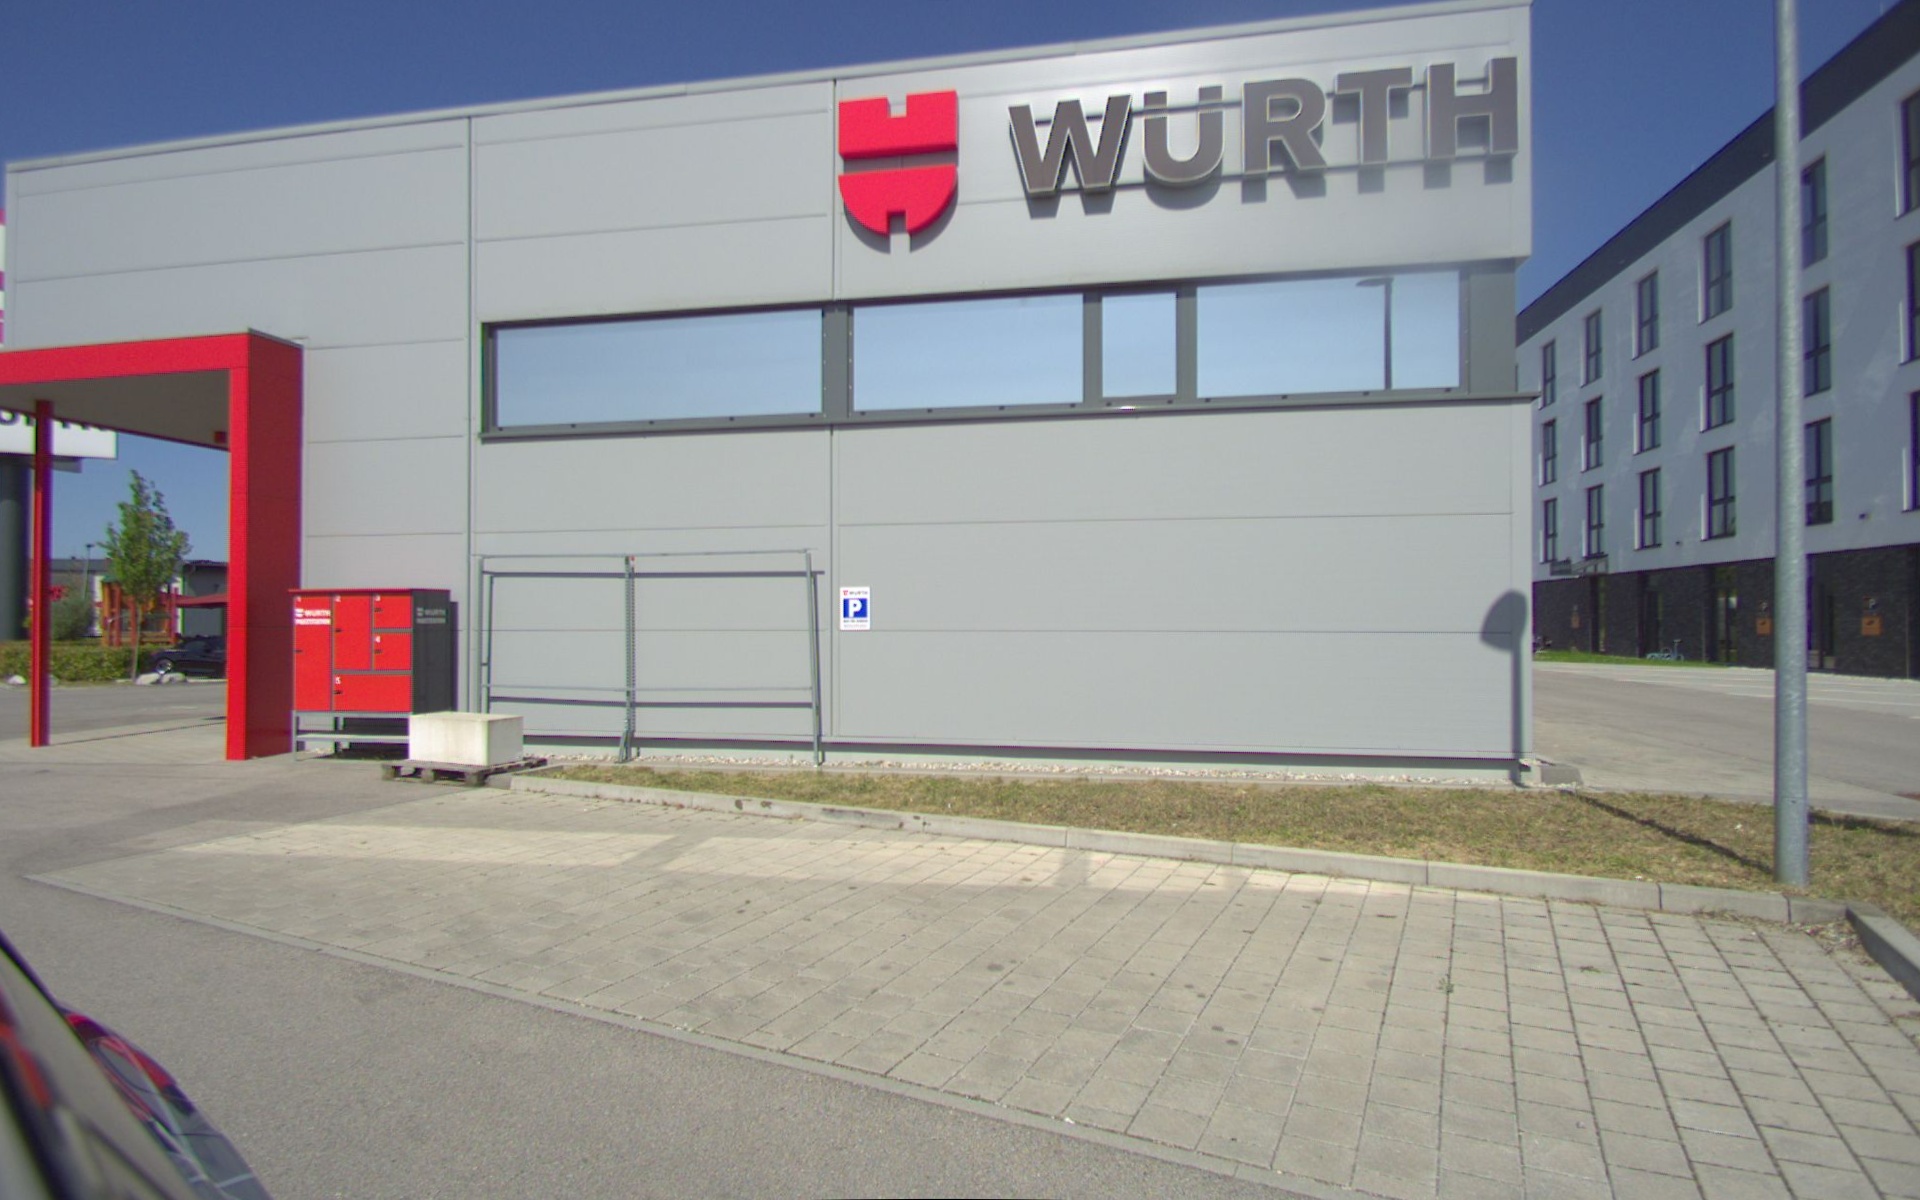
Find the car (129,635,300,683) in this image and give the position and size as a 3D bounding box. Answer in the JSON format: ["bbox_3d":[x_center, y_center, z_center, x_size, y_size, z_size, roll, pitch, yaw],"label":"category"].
[{"bbox_3d":[-22.430,1.765,30.496,4.108,1.348,1.825,-1,-2,10],"label":"car"}]

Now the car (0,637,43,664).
[{"bbox_3d":[-58.882,3.094,61.687,1.865,1.577,4.068,-1,-2,21],"label":"car"}]

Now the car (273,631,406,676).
[{"bbox_3d":[-21.615,1.854,35.274,3.877,1.486,1.795,-1,-2,15],"label":"car"}]

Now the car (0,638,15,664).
[{"bbox_3d":[-61.450,3.197,62.548,1.865,1.577,4.068,-1,-2,21],"label":"car"}]
